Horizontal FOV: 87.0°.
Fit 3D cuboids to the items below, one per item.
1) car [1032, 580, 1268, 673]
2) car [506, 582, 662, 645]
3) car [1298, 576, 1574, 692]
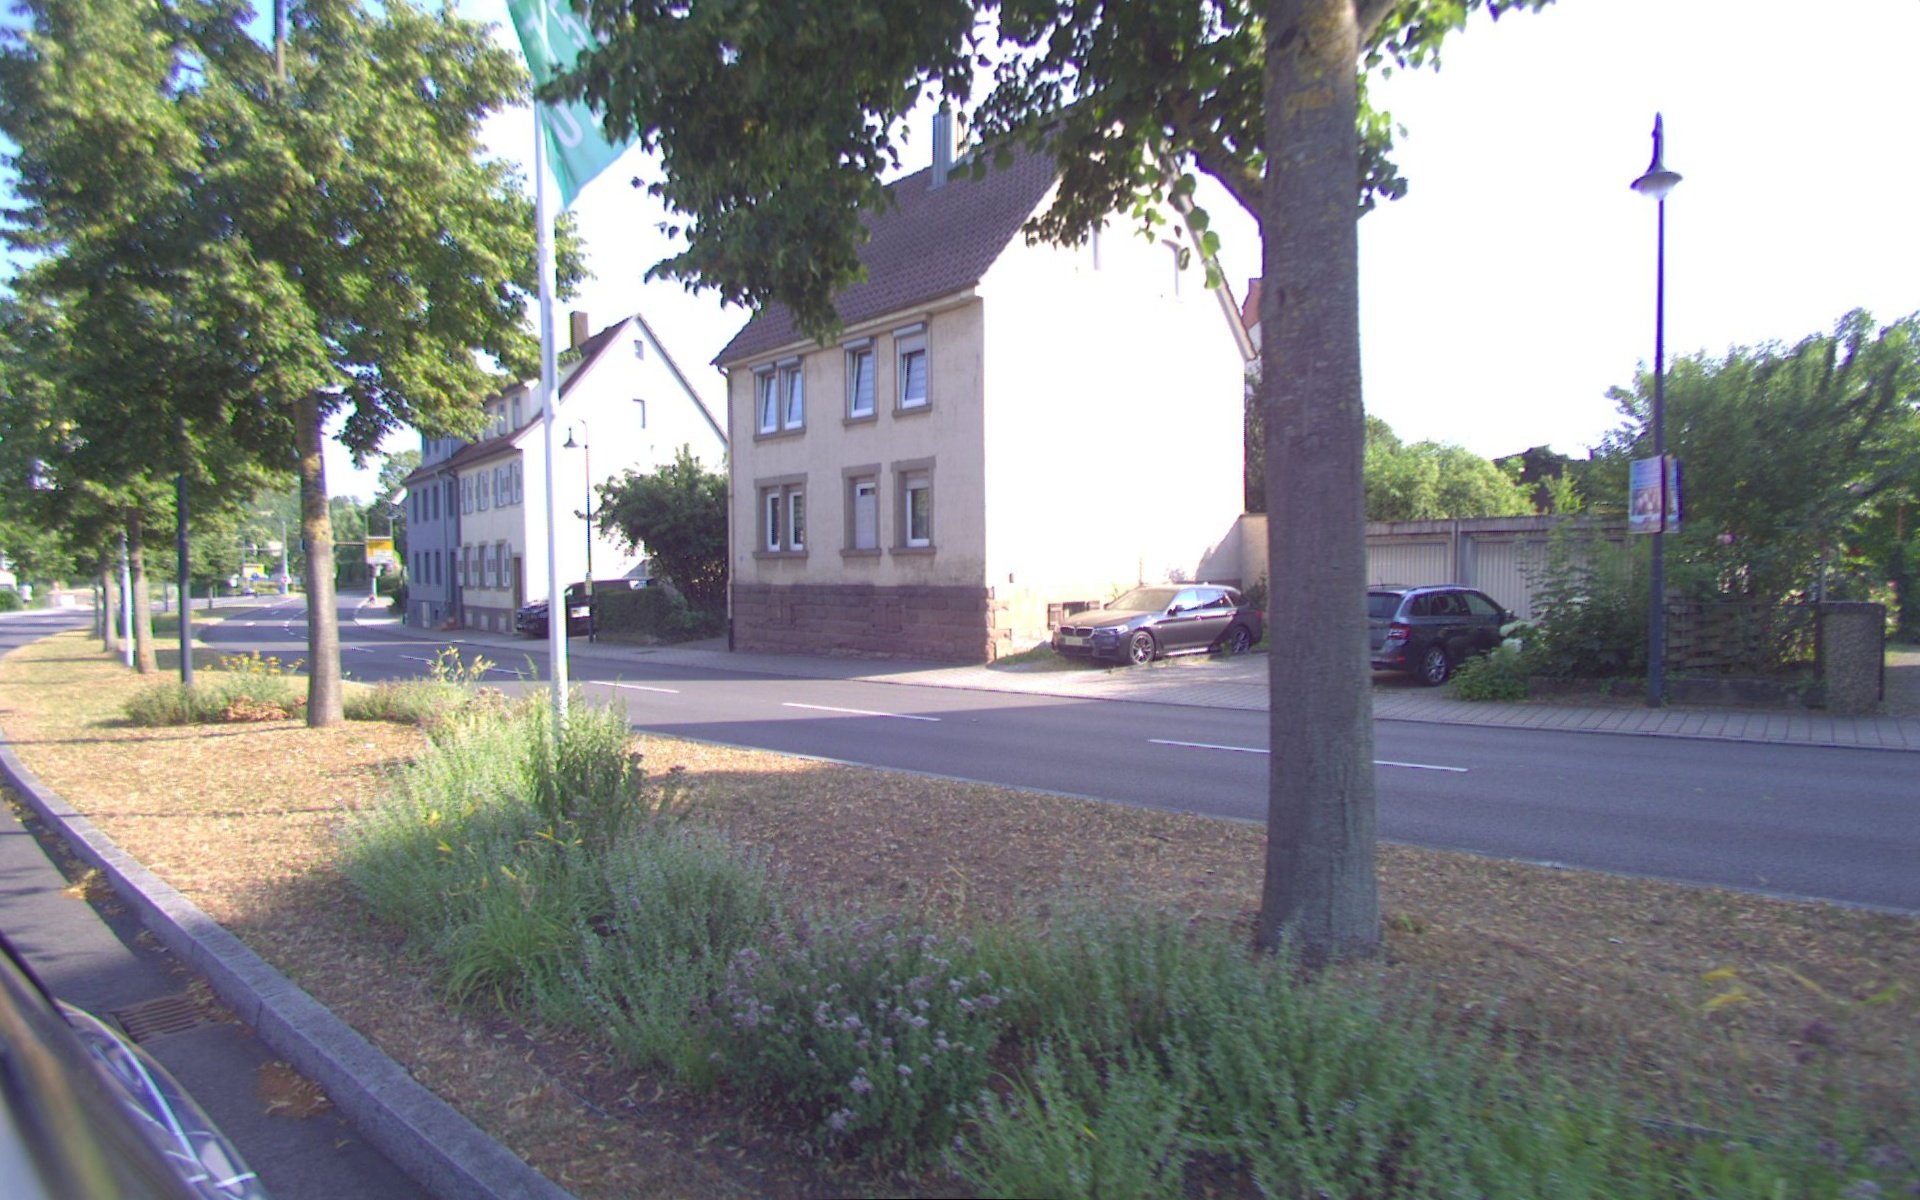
[{"bbox_3d":[3.694,0.437,19.436,4.288,1.497,2.017,-2,1,-35],"label":"car"},{"bbox_3d":[-13.382,0.425,36.183,4.764,1.891,2.004,-4,2,-39],"label":"car"},{"bbox_3d":[7.512,0.447,15.875,4.288,1.497,1.951,-2,1,-34],"label":"car"}]
